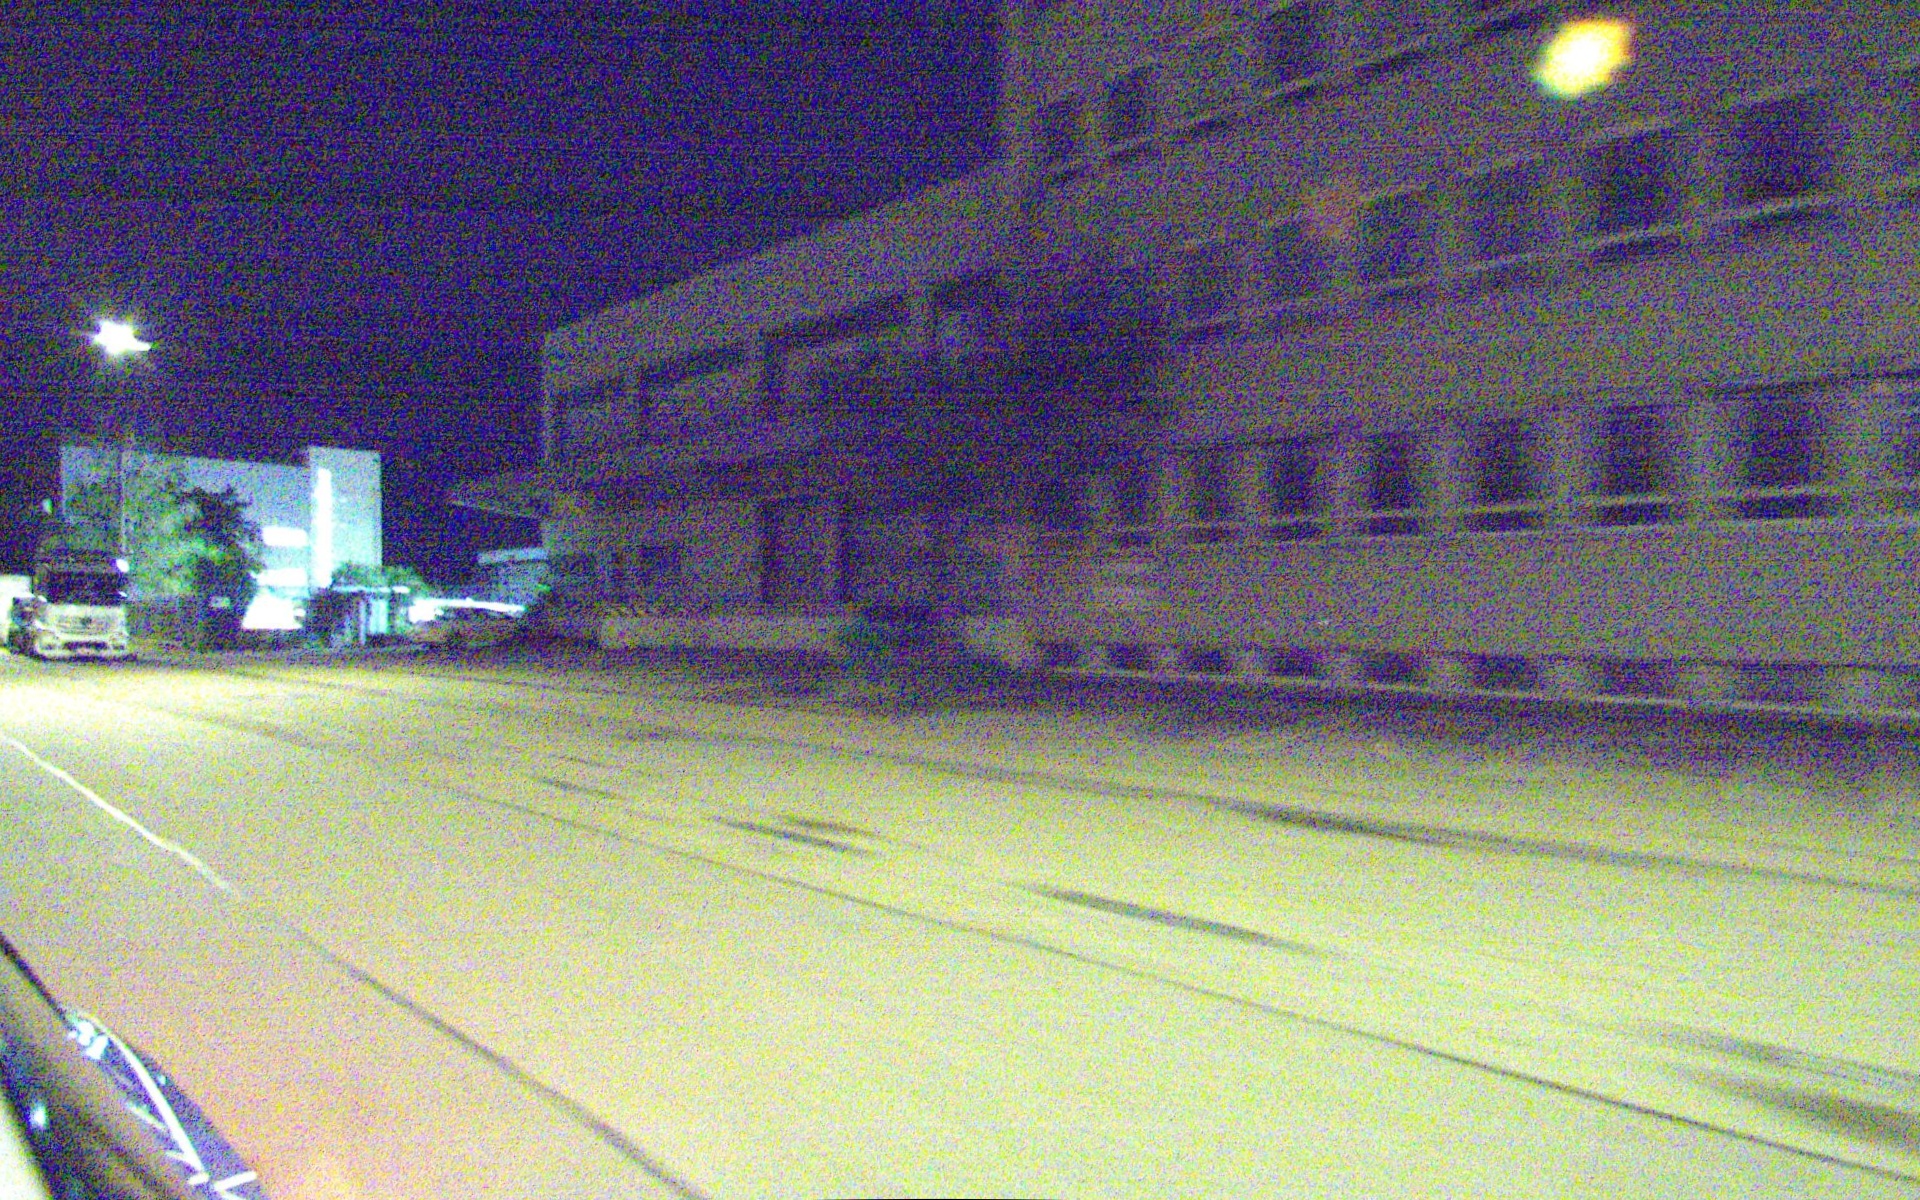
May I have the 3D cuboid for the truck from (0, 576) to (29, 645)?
[{"bbox_3d":[-55.408,0.633,56.938,10.386,3.659,2.795,-1,0,38],"label":"truck"}]

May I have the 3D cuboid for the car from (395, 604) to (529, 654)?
[{"bbox_3d":[-18.080,1.004,36.900,1.804,1.474,3.950,-1,3,38],"label":"car"}]

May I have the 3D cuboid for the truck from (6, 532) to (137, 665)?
[{"bbox_3d":[-34.184,-0.007,38.685,12.827,4.347,2.608,0,-2,44],"label":"truck"}]

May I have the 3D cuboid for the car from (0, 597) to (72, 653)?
[{"bbox_3d":[-40.873,1.061,44.639,4.468,2.330,2.117,-1,0,43],"label":"car"}]

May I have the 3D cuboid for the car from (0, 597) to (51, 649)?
[{"bbox_3d":[-46.956,1.131,50.176,5.739,2.462,1.974,-1,0,40],"label":"car"}]
